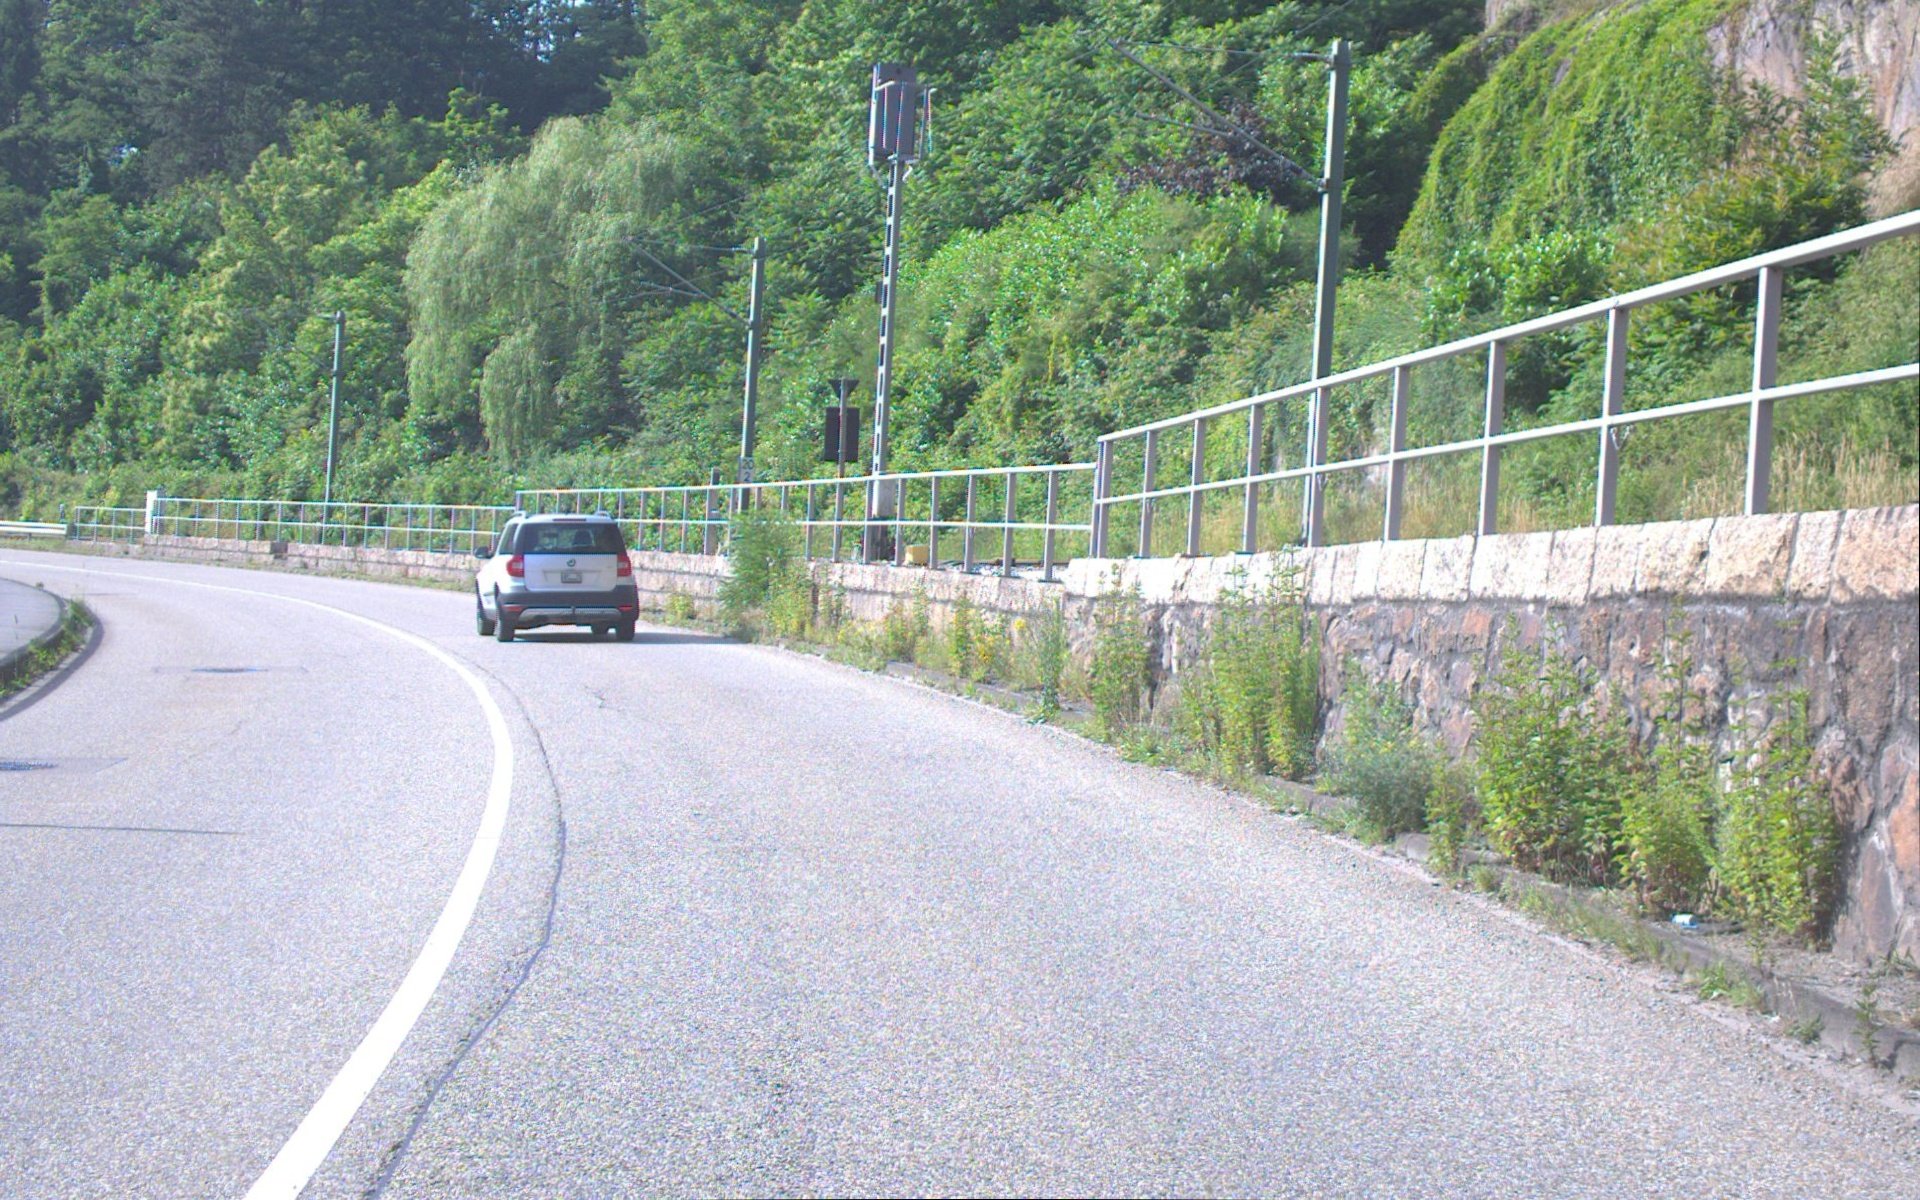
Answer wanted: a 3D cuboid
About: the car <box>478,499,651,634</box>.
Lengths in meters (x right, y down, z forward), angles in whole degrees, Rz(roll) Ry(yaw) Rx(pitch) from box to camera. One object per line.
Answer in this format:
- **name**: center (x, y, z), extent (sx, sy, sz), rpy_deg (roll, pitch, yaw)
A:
- **car**: center (-5.215, -0.473, 44.973), extent (1.872, 1.650, 4.001), rpy_deg (1, 2, -12)
